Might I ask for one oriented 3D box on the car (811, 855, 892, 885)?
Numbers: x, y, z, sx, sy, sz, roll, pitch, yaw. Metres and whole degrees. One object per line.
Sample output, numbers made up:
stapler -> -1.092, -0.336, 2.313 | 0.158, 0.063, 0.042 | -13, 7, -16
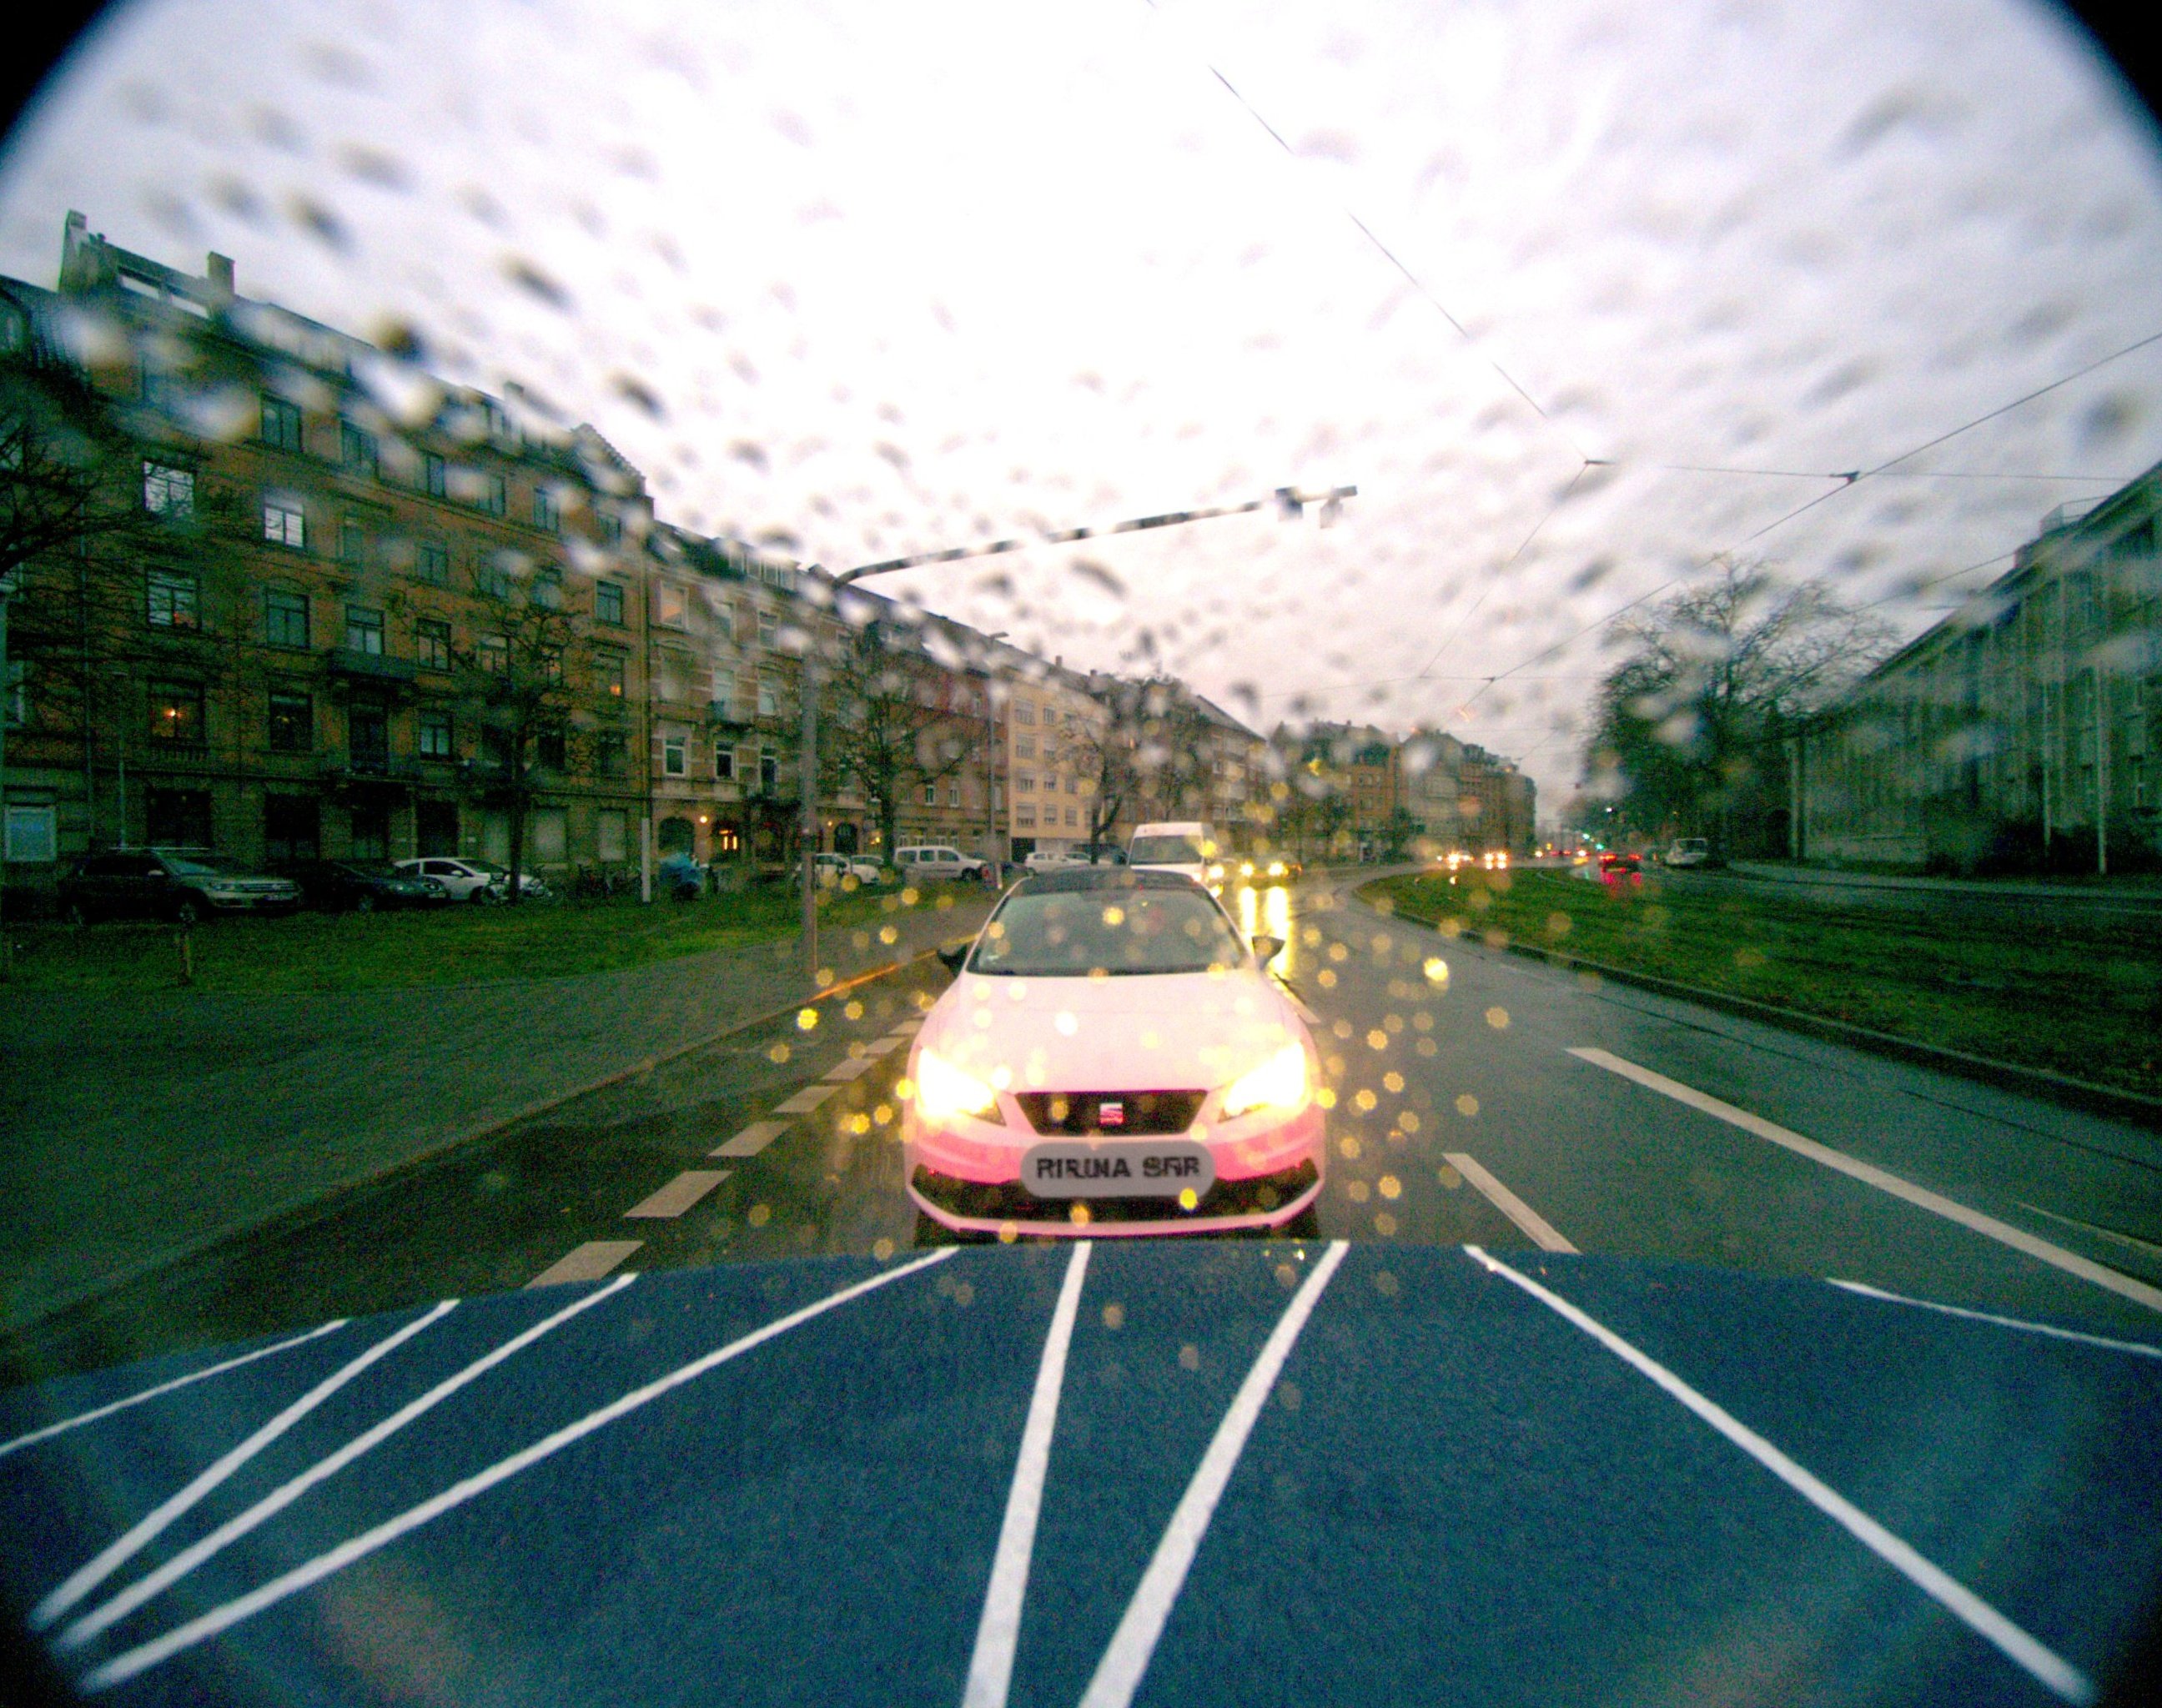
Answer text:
car -> -12.625, 0.848, 41.984 | 1.733, 1.492, 4.058 | -3, -1, 32

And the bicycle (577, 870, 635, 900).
bicycle -> -15.891, 1.049, 25.406 | 2.165, 0.960, 0.627 | -2, -2, 28

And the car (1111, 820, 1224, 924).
car -> 2.489, 0.421, 20.258 | 2.127, 2.366, 5.644 | -2, 0, 15

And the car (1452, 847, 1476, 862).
car -> 38.188, 0.018, 75.726 | 1.892, 1.405, 3.954 | -1, 0, 31

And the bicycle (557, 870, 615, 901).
bicycle -> -16.200, 1.040, 24.835 | 2.165, 0.960, 0.627 | -2, -2, 28

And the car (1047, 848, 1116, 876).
car -> 0.014, 0.490, 45.791 | 3.998, 1.406, 1.641 | -3, 0, -2

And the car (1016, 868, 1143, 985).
car -> 0.088, 0.957, 11.224 | 1.589, 1.418, 3.135 | -1, 0, 4

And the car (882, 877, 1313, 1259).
car -> 0.129, 0.951, 4.981 | 1.715, 1.404, 3.680 | -3, 0, 2

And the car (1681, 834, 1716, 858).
car -> 39.302, -0.498, 48.387 | 1.557, 1.420, 2.960 | -1, 1, 36

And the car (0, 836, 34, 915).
car -> -29.091, 0.552, 17.953 | 1.994, 2.002, 4.997 | 1, 1, 34

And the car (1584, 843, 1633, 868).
car -> 32.504, 0.067, 46.936 | 1.658, 1.392, 4.530 | -3, 0, 25

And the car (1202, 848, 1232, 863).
car -> 14.436, 0.109, 80.326 | 1.470, 1.534, 3.880 | 0, 1, 38

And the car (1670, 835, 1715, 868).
car -> 41.950, -0.195, 52.187 | 1.995, 2.002, 4.518 | -3, 0, 35

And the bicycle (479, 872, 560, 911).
bicycle -> -14.427, 0.941, 19.565 | 1.655, 0.931, 0.513 | 0, 0, -35

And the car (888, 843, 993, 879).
car -> -6.715, 0.318, 36.494 | 4.659, 1.583, 1.778 | 1, 1, 3

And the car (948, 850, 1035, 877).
car -> -4.525, 0.486, 38.725 | 4.058, 1.227, 1.771 | 1, 0, 6

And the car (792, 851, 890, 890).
car -> -9.971, 0.687, 31.698 | 3.462, 1.435, 1.615 | -2, 0, 6

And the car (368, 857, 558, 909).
car -> -17.151, 0.773, 21.219 | 3.856, 1.329, 1.698 | -1, 0, -1

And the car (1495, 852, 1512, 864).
car -> 54.397, 0.481, 97.950 | 1.836, 1.477, 3.528 | -1, 0, 28

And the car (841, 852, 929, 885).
car -> -8.769, 0.653, 34.151 | 3.430, 1.343, 1.664 | -2, 0, 2

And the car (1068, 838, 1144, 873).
car -> 1.553, 0.091, 48.511 | 4.720, 1.971, 1.799 | -2, 0, -2

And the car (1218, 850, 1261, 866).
car -> 14.508, 0.357, 69.599 | 3.760, 1.346, 1.603 | -3, 0, 11

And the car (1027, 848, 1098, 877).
car -> -1.043, 0.504, 43.693 | 3.770, 1.424, 1.762 | -3, 0, 9

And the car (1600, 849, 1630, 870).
car -> 42.628, 0.416, 60.576 | 1.822, 1.426, 4.664 | -3, 0, 36

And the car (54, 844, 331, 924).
car -> -19.486, 0.607, 16.801 | 3.996, 1.627, 1.944 | 0, 1, 4

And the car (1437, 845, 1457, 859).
car -> 43.166, -0.262, 89.552 | 1.719, 1.608, 3.946 | -1, 0, 32

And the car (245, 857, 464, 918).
car -> -17.953, 0.807, 18.903 | 3.742, 1.346, 1.677 | -2, -1, -2

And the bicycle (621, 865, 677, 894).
bicycle -> -15.052, 0.859, 26.451 | 2.165, 0.960, 0.627 | 0, 1, 28
